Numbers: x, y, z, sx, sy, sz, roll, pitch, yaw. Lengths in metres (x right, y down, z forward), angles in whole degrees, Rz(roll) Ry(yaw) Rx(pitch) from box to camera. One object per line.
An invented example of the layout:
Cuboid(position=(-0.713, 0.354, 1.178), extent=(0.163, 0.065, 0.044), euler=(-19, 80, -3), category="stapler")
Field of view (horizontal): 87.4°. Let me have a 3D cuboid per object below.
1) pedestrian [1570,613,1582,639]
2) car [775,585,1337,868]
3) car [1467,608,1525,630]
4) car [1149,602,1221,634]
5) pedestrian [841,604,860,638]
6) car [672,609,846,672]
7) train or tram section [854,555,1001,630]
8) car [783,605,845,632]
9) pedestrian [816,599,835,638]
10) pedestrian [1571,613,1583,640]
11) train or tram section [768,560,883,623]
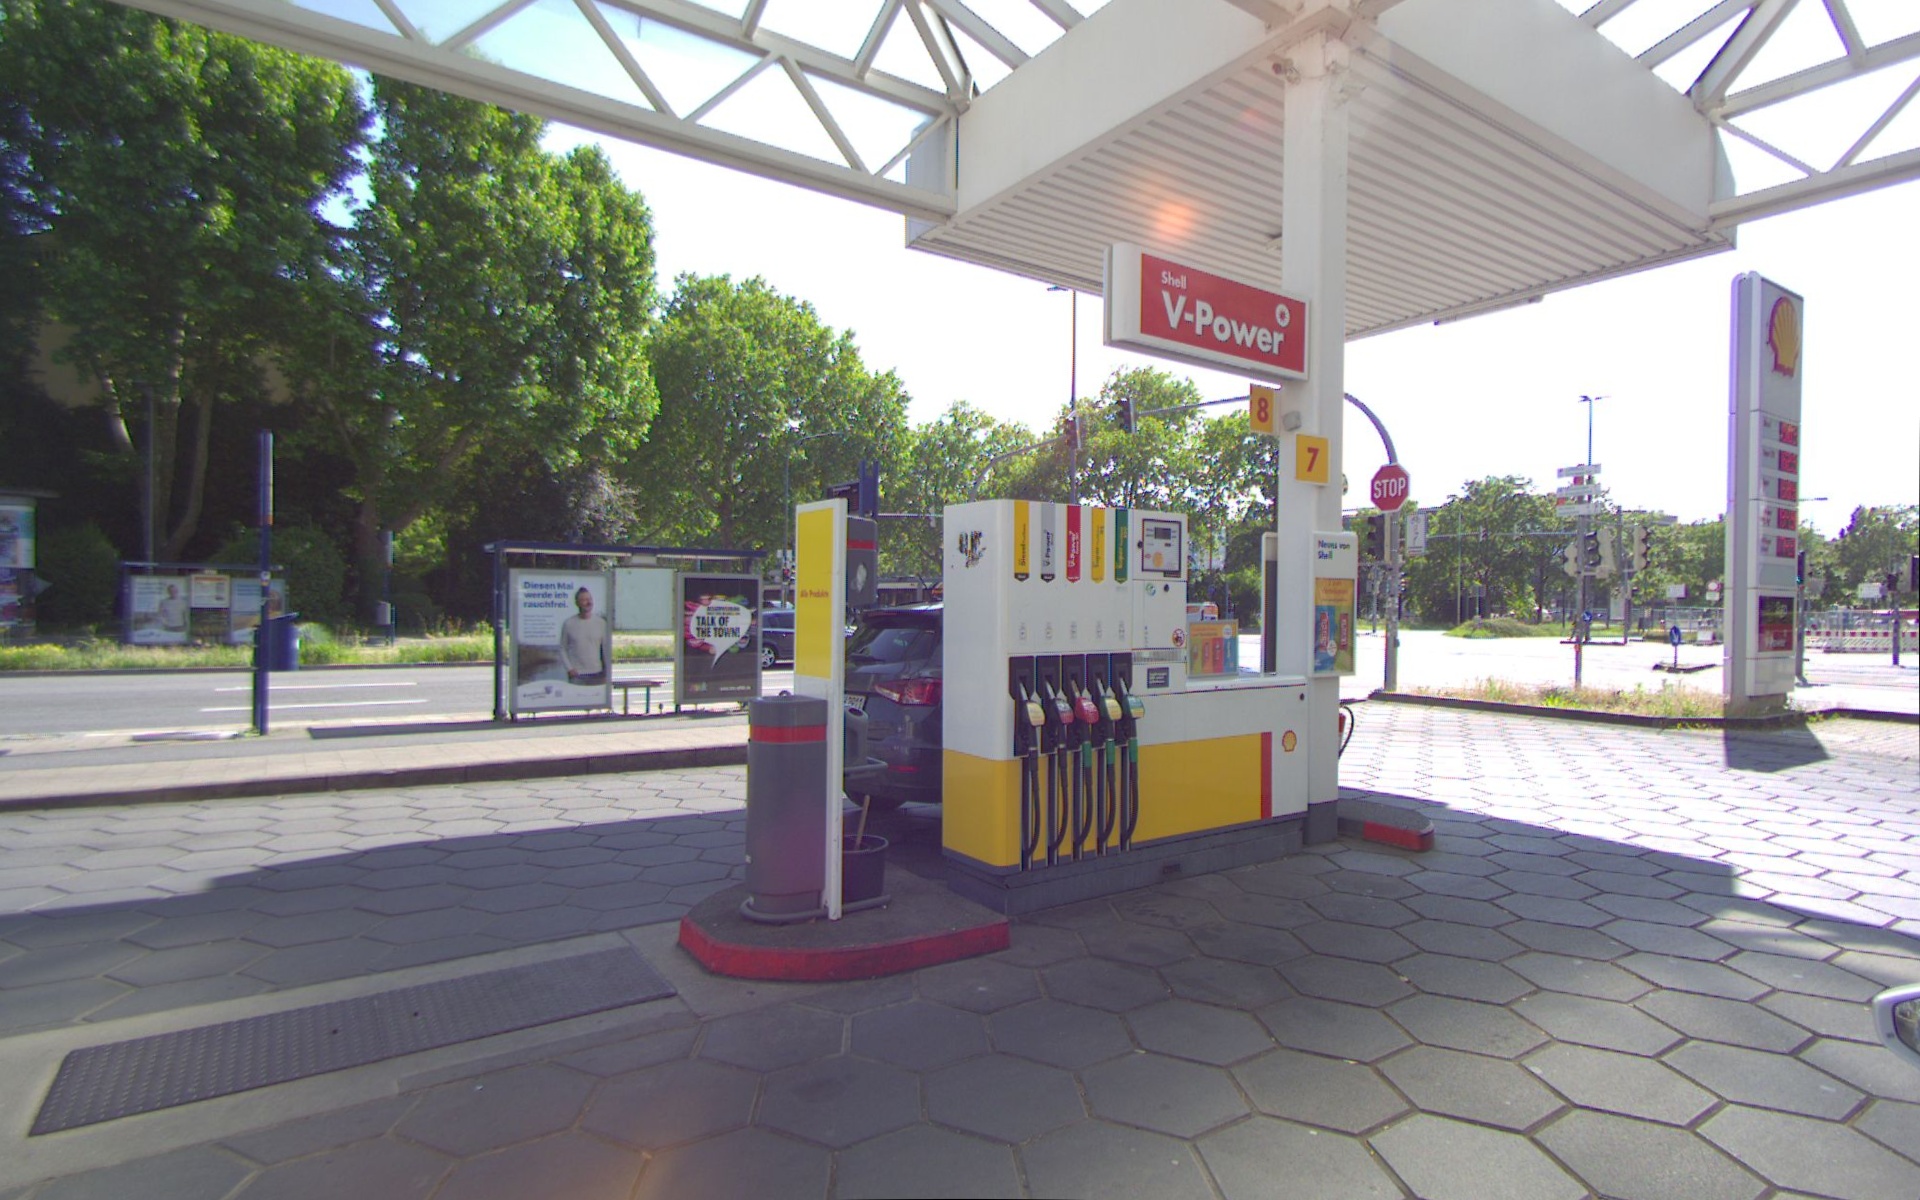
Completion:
Cuboid(position=(34.795, 1.459, 56.709), extent=(0.555, 1.488, 0.512), euler=(1, 0, 31), category="pedestrian")
Cuboid(position=(0.826, 0.753, 7.389), extent=(3.960, 1.552, 1.732), euler=(2, -2, -35), category="car")
Cuboid(position=(45.899, 1.665, 86.120), extent=(1.976, 1.839, 3.969), euler=(1, -2, -30), category="car")
Cuboid(position=(14.749, 1.200, 65.993), extent=(1.981, 2.040, 4.401), euler=(1, -2, -37), category="car")
Cuboid(position=(-5.452, 1.054, 50.086), extent=(0.777, 1.696, 0.557), euler=(1, -2, -32), category="pedestrian")
Cuboid(position=(-5.036, 0.982, 25.310), extent=(3.962, 1.385, 1.669), euler=(1, 2, -35), category="car")
Cuboid(position=(-2.587, -0.465, 67.854), extent=(2.304, 4.549, 14.801), euler=(1, -1, -34), category="train or tram section")
Cuboid(position=(-8.674, 1.135, 59.518), extent=(1.854, 1.532, 3.954), euler=(2, -2, -40), category="car")
Cuboid(position=(-6.473, 0.907, 48.407), extent=(0.757, 1.881, 0.725), euler=(0, -2, 8), category="pedestrian")
Cuboid(position=(34.245, 1.464, 55.721), extent=(0.555, 1.488, 0.512), euler=(1, 0, 31), category="pedestrian")
Cuboid(position=(-11.147, -0.611, 80.596), extent=(2.304, 4.549, 15.774), euler=(1, -1, -34), category="train or tram section")
